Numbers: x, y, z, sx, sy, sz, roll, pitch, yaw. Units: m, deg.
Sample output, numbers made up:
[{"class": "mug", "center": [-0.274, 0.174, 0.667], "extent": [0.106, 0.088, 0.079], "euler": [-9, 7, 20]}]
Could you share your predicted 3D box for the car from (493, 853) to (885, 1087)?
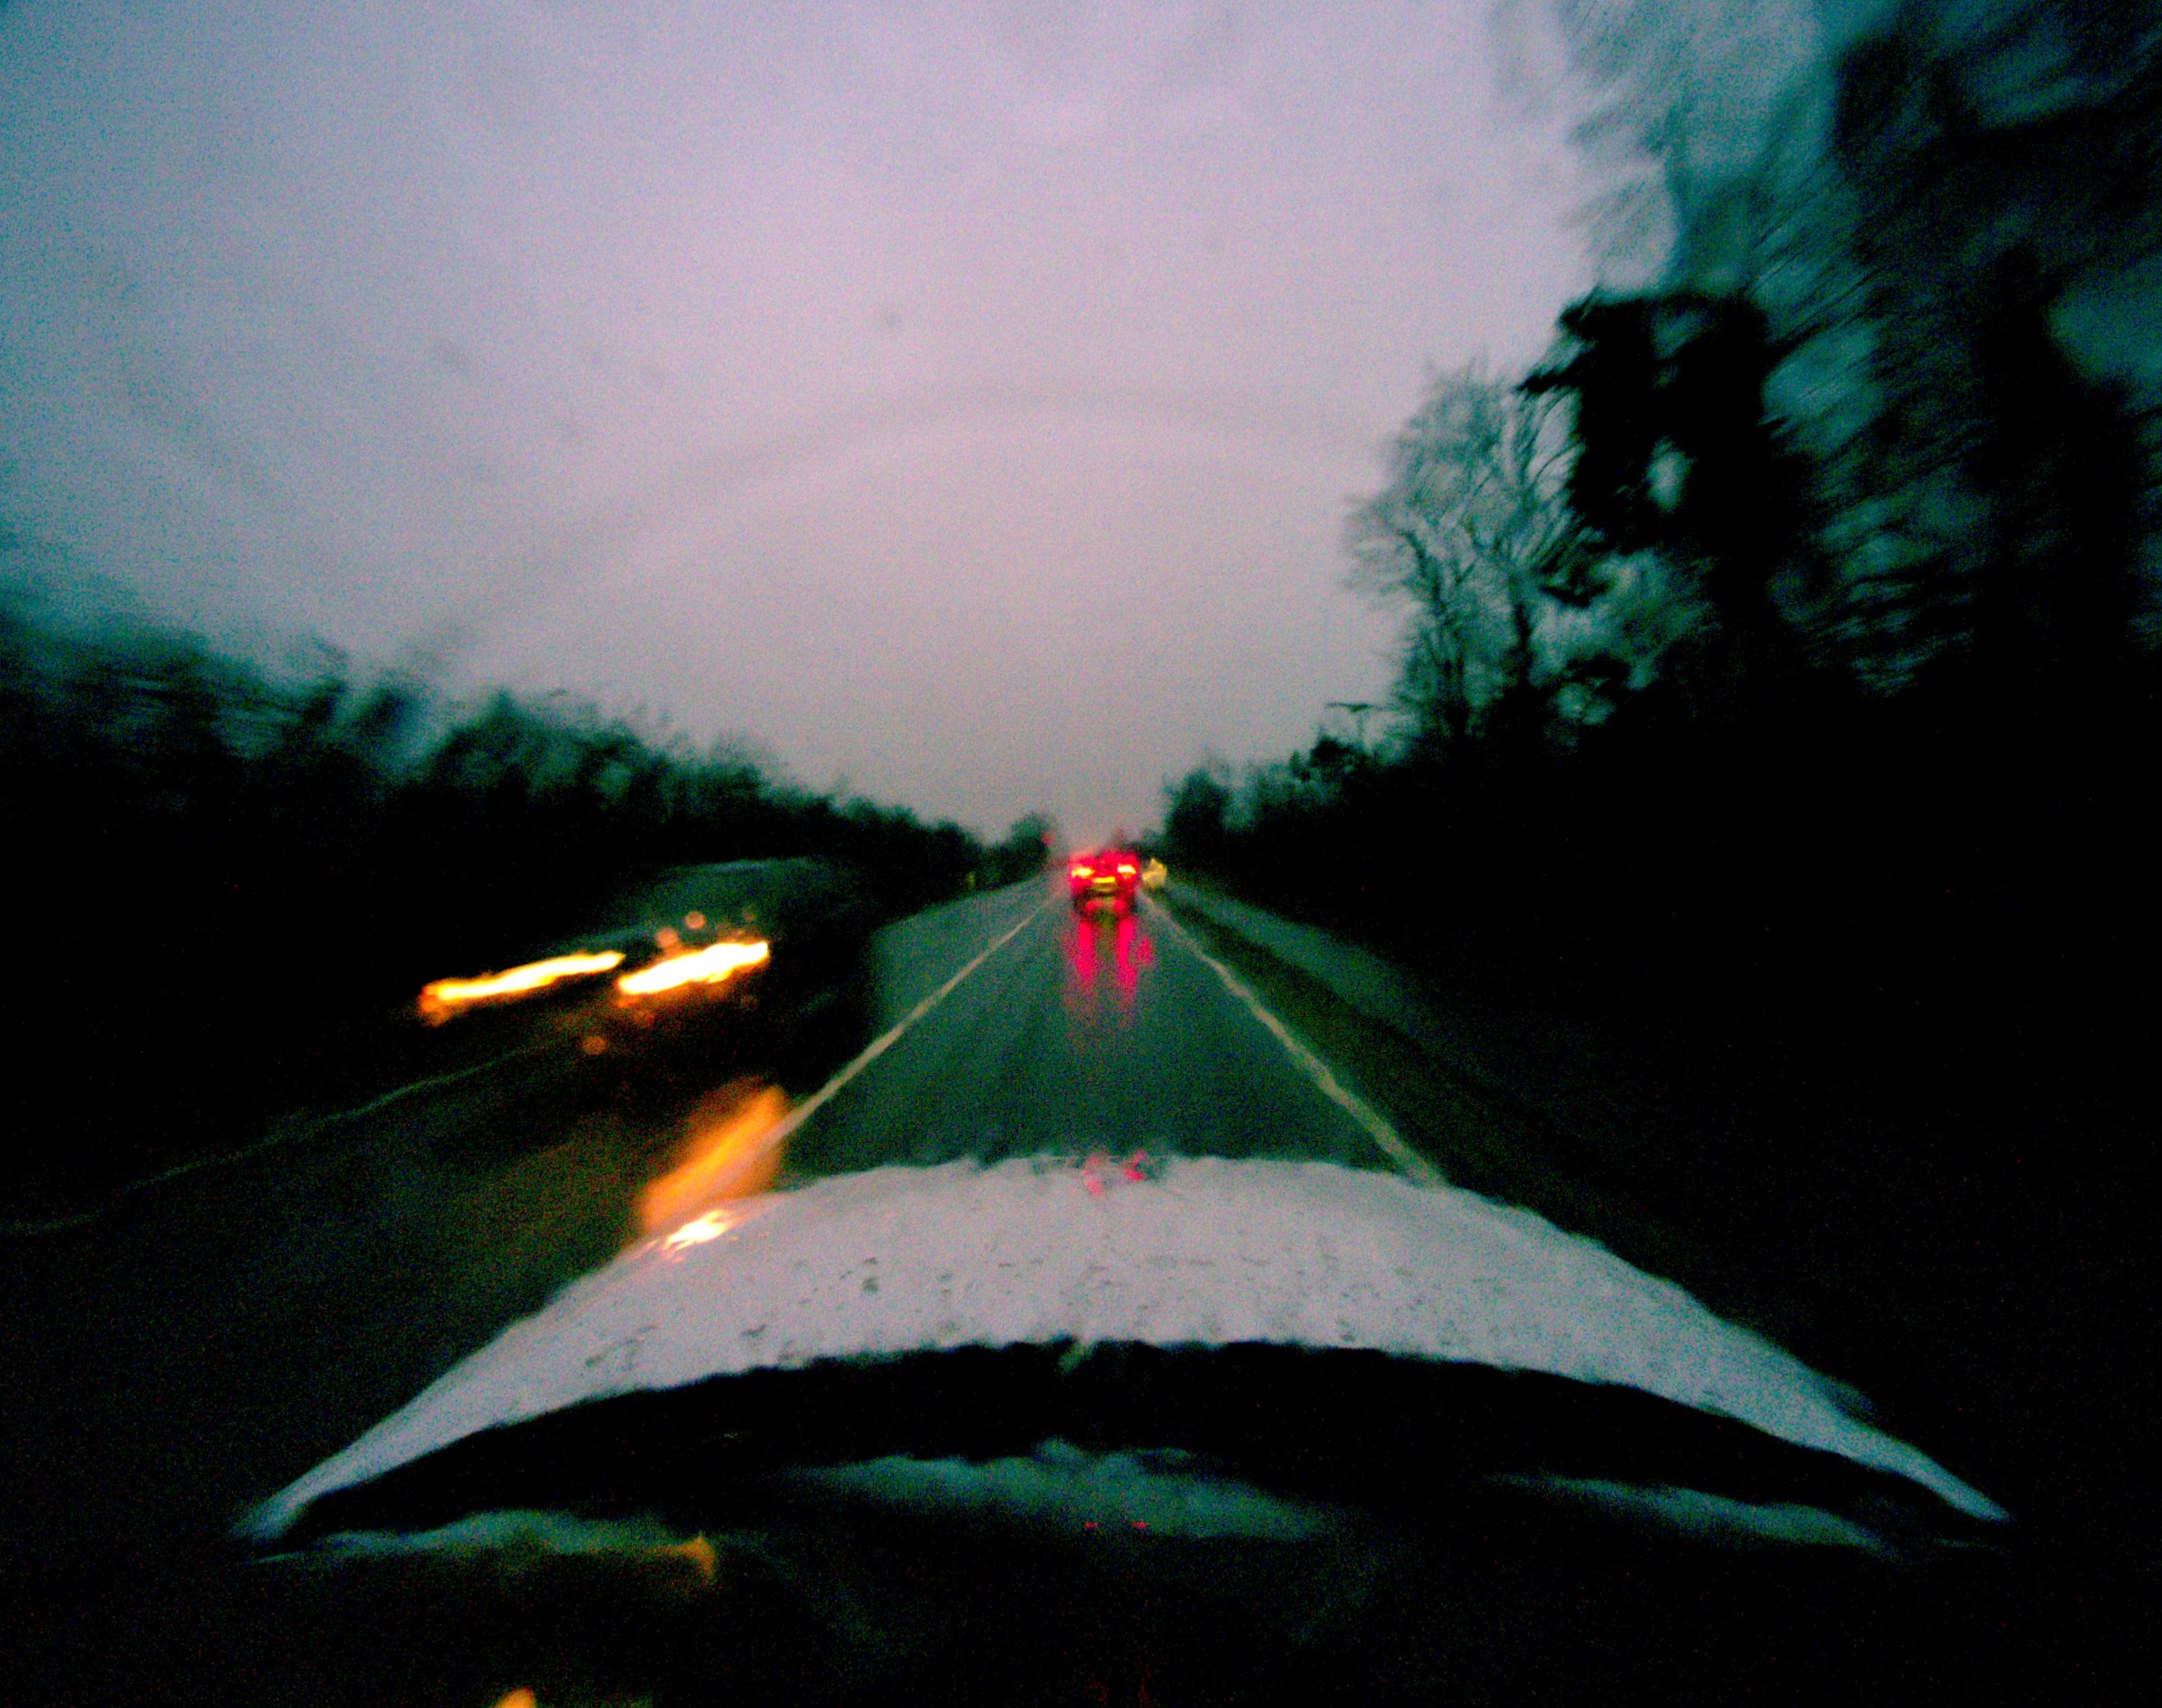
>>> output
[{"class": "car", "center": [-3.364, 0.857, 7.980], "extent": [1.761, 1.598, 4.000], "euler": [-4, 0, 1]}]

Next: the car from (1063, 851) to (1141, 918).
[{"class": "car", "center": [0.649, 0.838, 25.085], "extent": [2.112, 1.820, 4.981], "euler": [-1, 0, 1]}]
